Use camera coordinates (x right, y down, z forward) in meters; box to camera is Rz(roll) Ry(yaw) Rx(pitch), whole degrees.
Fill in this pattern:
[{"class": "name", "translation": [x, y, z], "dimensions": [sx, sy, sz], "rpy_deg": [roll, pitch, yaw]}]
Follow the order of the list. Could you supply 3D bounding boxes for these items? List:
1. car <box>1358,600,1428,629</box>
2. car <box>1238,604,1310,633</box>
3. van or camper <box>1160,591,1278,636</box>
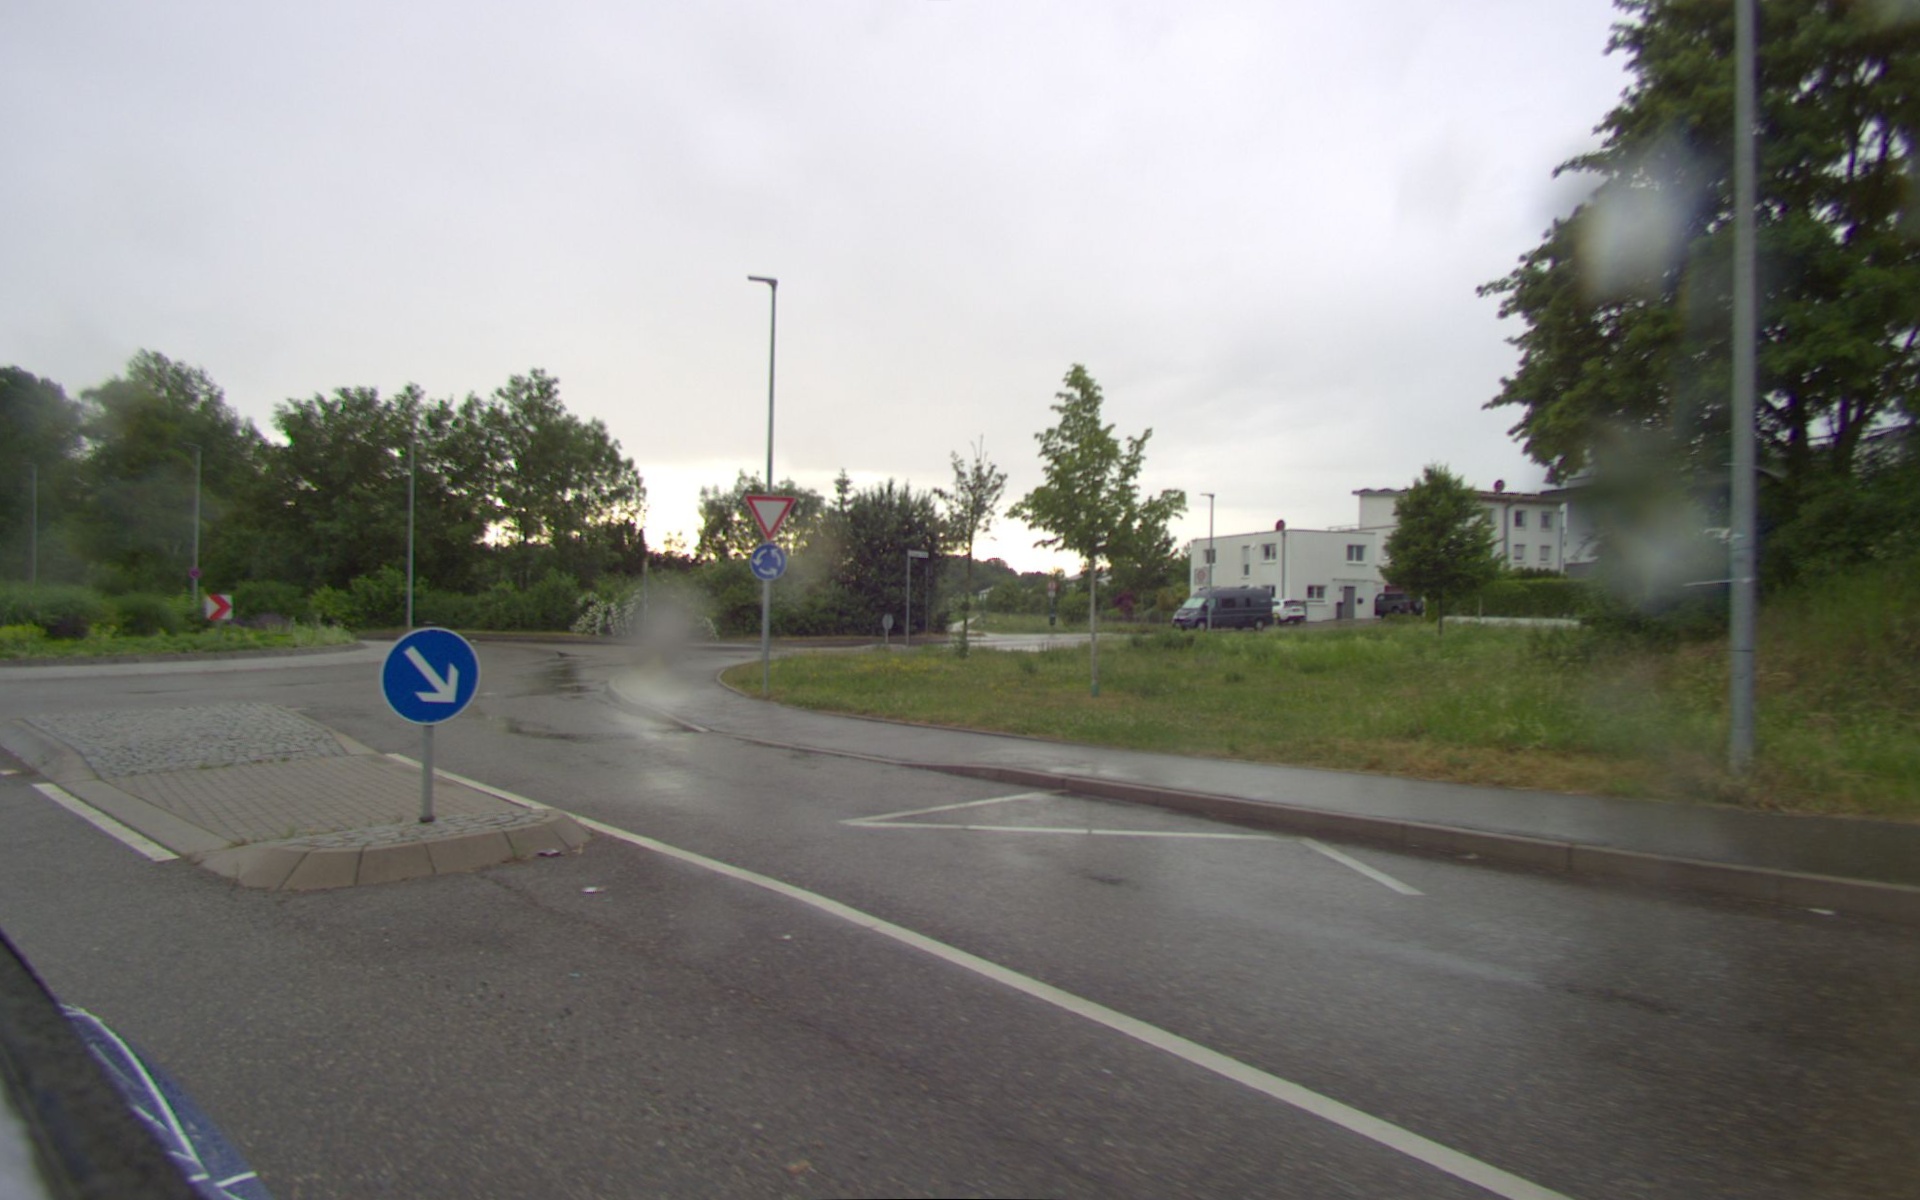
[{"class": "car", "translation": [29.348, 0.987, 68.752], "dimensions": [1.759, 1.855, 4.227], "rpy_deg": [2, 0, -27]}, {"class": "car", "translation": [20.408, 1.199, 65.965], "dimensions": [1.986, 1.761, 4.686], "rpy_deg": [1, -1, -21]}, {"class": "van or camper", "translation": [14.852, 0.770, 58.123], "dimensions": [6.101, 2.512, 2.539], "rpy_deg": [0, 0, -17]}]
